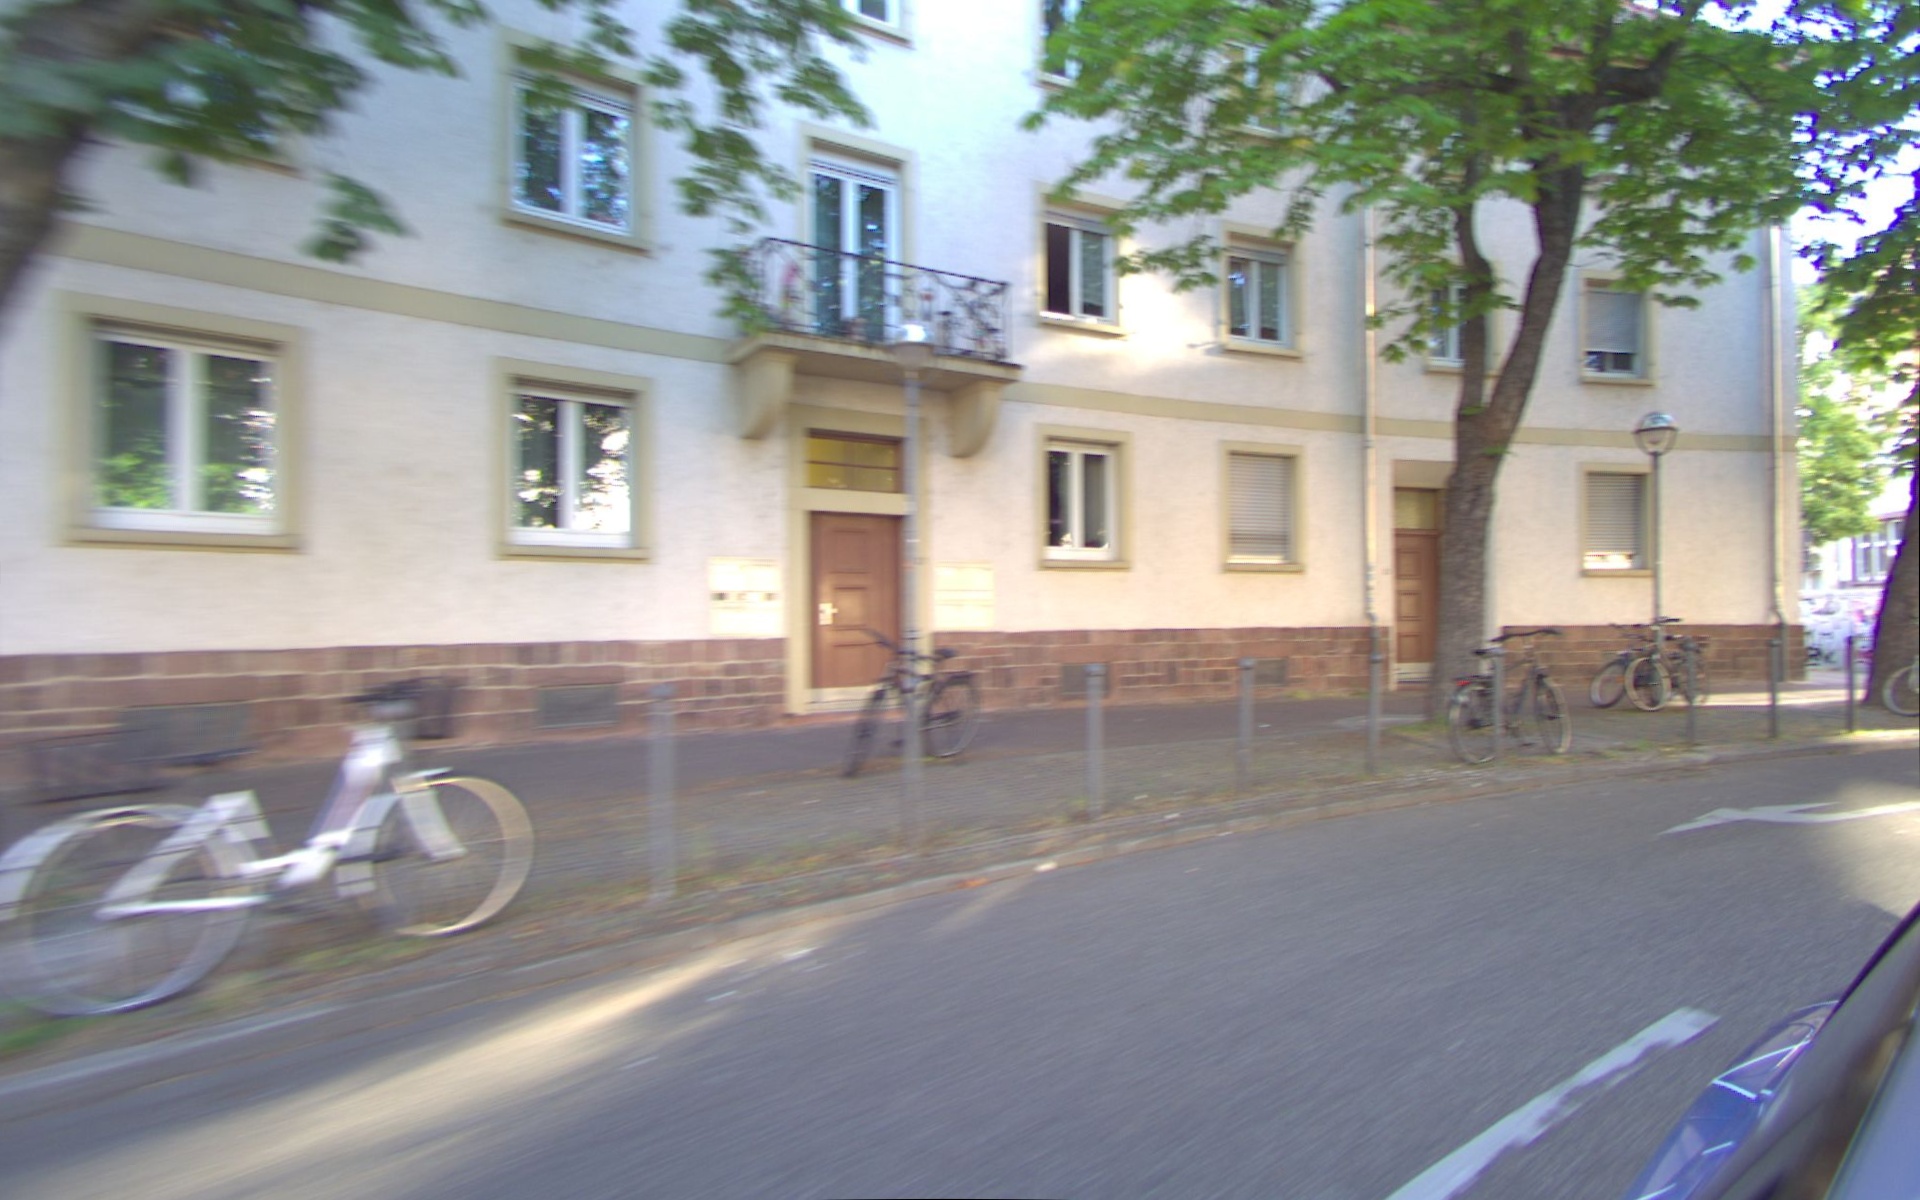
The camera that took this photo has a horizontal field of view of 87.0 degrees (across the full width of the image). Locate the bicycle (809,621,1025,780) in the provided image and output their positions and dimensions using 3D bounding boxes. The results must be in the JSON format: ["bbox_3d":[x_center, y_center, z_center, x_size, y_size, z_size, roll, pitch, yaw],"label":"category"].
[{"bbox_3d":[-0.307,0.754,8.397,0.798,1.133,1.833,-1,-1,38],"label":"bicycle"}]

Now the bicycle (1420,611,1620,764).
[{"bbox_3d":[5.067,0.726,9.126,1.876,1.238,0.720,0,-1,-31],"label":"bicycle"}]

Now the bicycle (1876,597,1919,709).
[{"bbox_3d":[12.129,0.617,12.424,1.865,1.321,0.769,0,-1,-30],"label":"bicycle"}]

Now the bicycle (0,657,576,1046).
[{"bbox_3d":[-2.585,0.843,4.049,0.512,1.109,1.944,1,1,42],"label":"bicycle"}]

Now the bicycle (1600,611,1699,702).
[{"bbox_3d":[8.955,0.710,13.124,1.603,1.108,0.335,0,-1,-28],"label":"bicycle"}]

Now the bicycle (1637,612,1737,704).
[{"bbox_3d":[9.274,0.715,12.892,1.603,1.108,0.335,0,-1,-28],"label":"bicycle"}]

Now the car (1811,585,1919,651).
[{"bbox_3d":[22.080,0.386,23.051,3.740,1.443,1.672,-1,-1,8],"label":"car"}]
